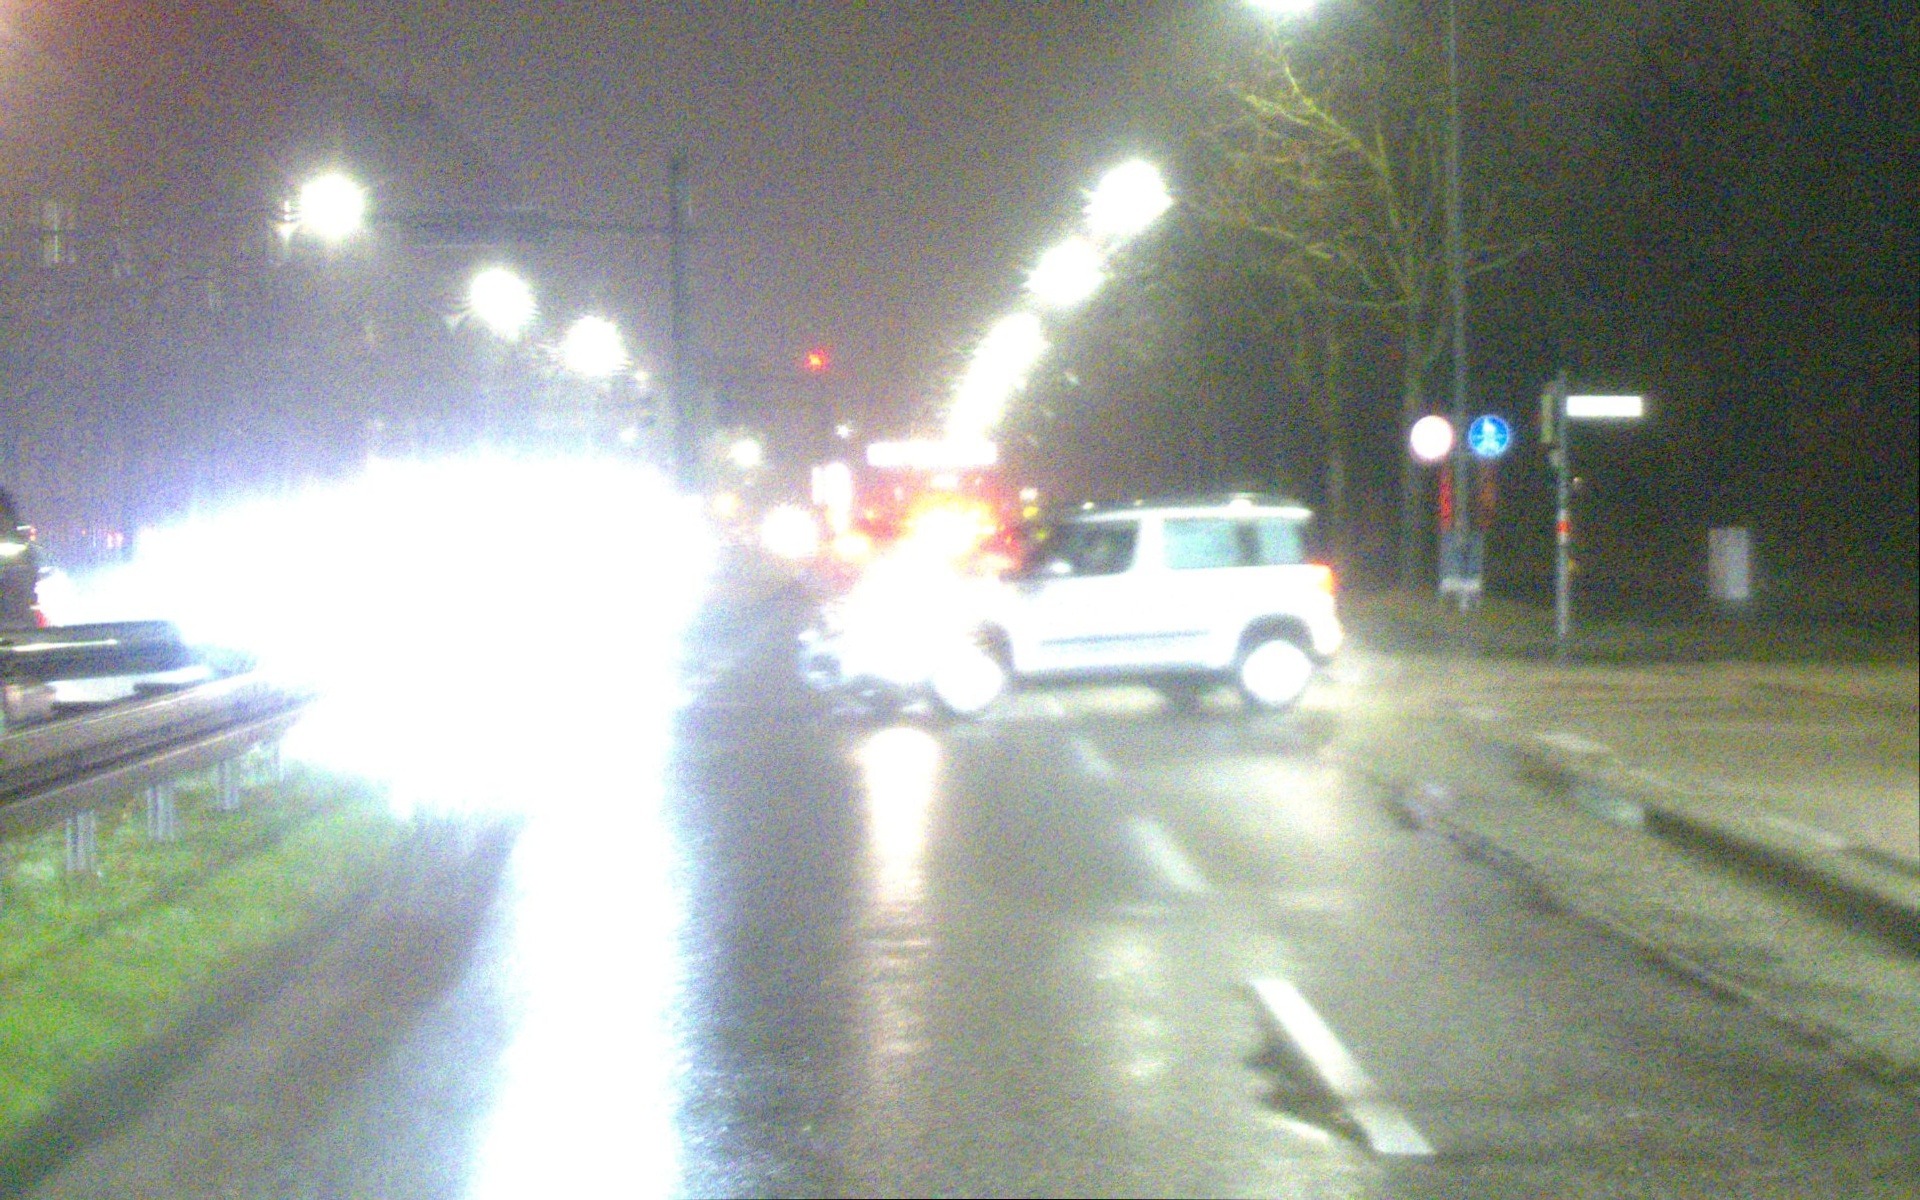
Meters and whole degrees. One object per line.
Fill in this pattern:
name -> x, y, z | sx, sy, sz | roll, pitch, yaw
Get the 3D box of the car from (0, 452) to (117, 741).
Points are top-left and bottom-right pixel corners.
car -> -7.545, -0.042, 20.013 | 1.969, 1.735, 4.907 | 1, 1, 39

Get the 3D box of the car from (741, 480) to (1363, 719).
car -> 0.699, 0.005, 26.557 | 4.382, 1.735, 1.911 | 1, 1, -21

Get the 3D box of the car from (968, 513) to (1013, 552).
car -> 1.415, -3.171, 162.083 | 1.993, 1.753, 4.000 | 1, 1, -1

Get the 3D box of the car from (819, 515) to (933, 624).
car -> -1.661, -0.592, 66.499 | 1.993, 2.007, 4.633 | 1, 1, -4
